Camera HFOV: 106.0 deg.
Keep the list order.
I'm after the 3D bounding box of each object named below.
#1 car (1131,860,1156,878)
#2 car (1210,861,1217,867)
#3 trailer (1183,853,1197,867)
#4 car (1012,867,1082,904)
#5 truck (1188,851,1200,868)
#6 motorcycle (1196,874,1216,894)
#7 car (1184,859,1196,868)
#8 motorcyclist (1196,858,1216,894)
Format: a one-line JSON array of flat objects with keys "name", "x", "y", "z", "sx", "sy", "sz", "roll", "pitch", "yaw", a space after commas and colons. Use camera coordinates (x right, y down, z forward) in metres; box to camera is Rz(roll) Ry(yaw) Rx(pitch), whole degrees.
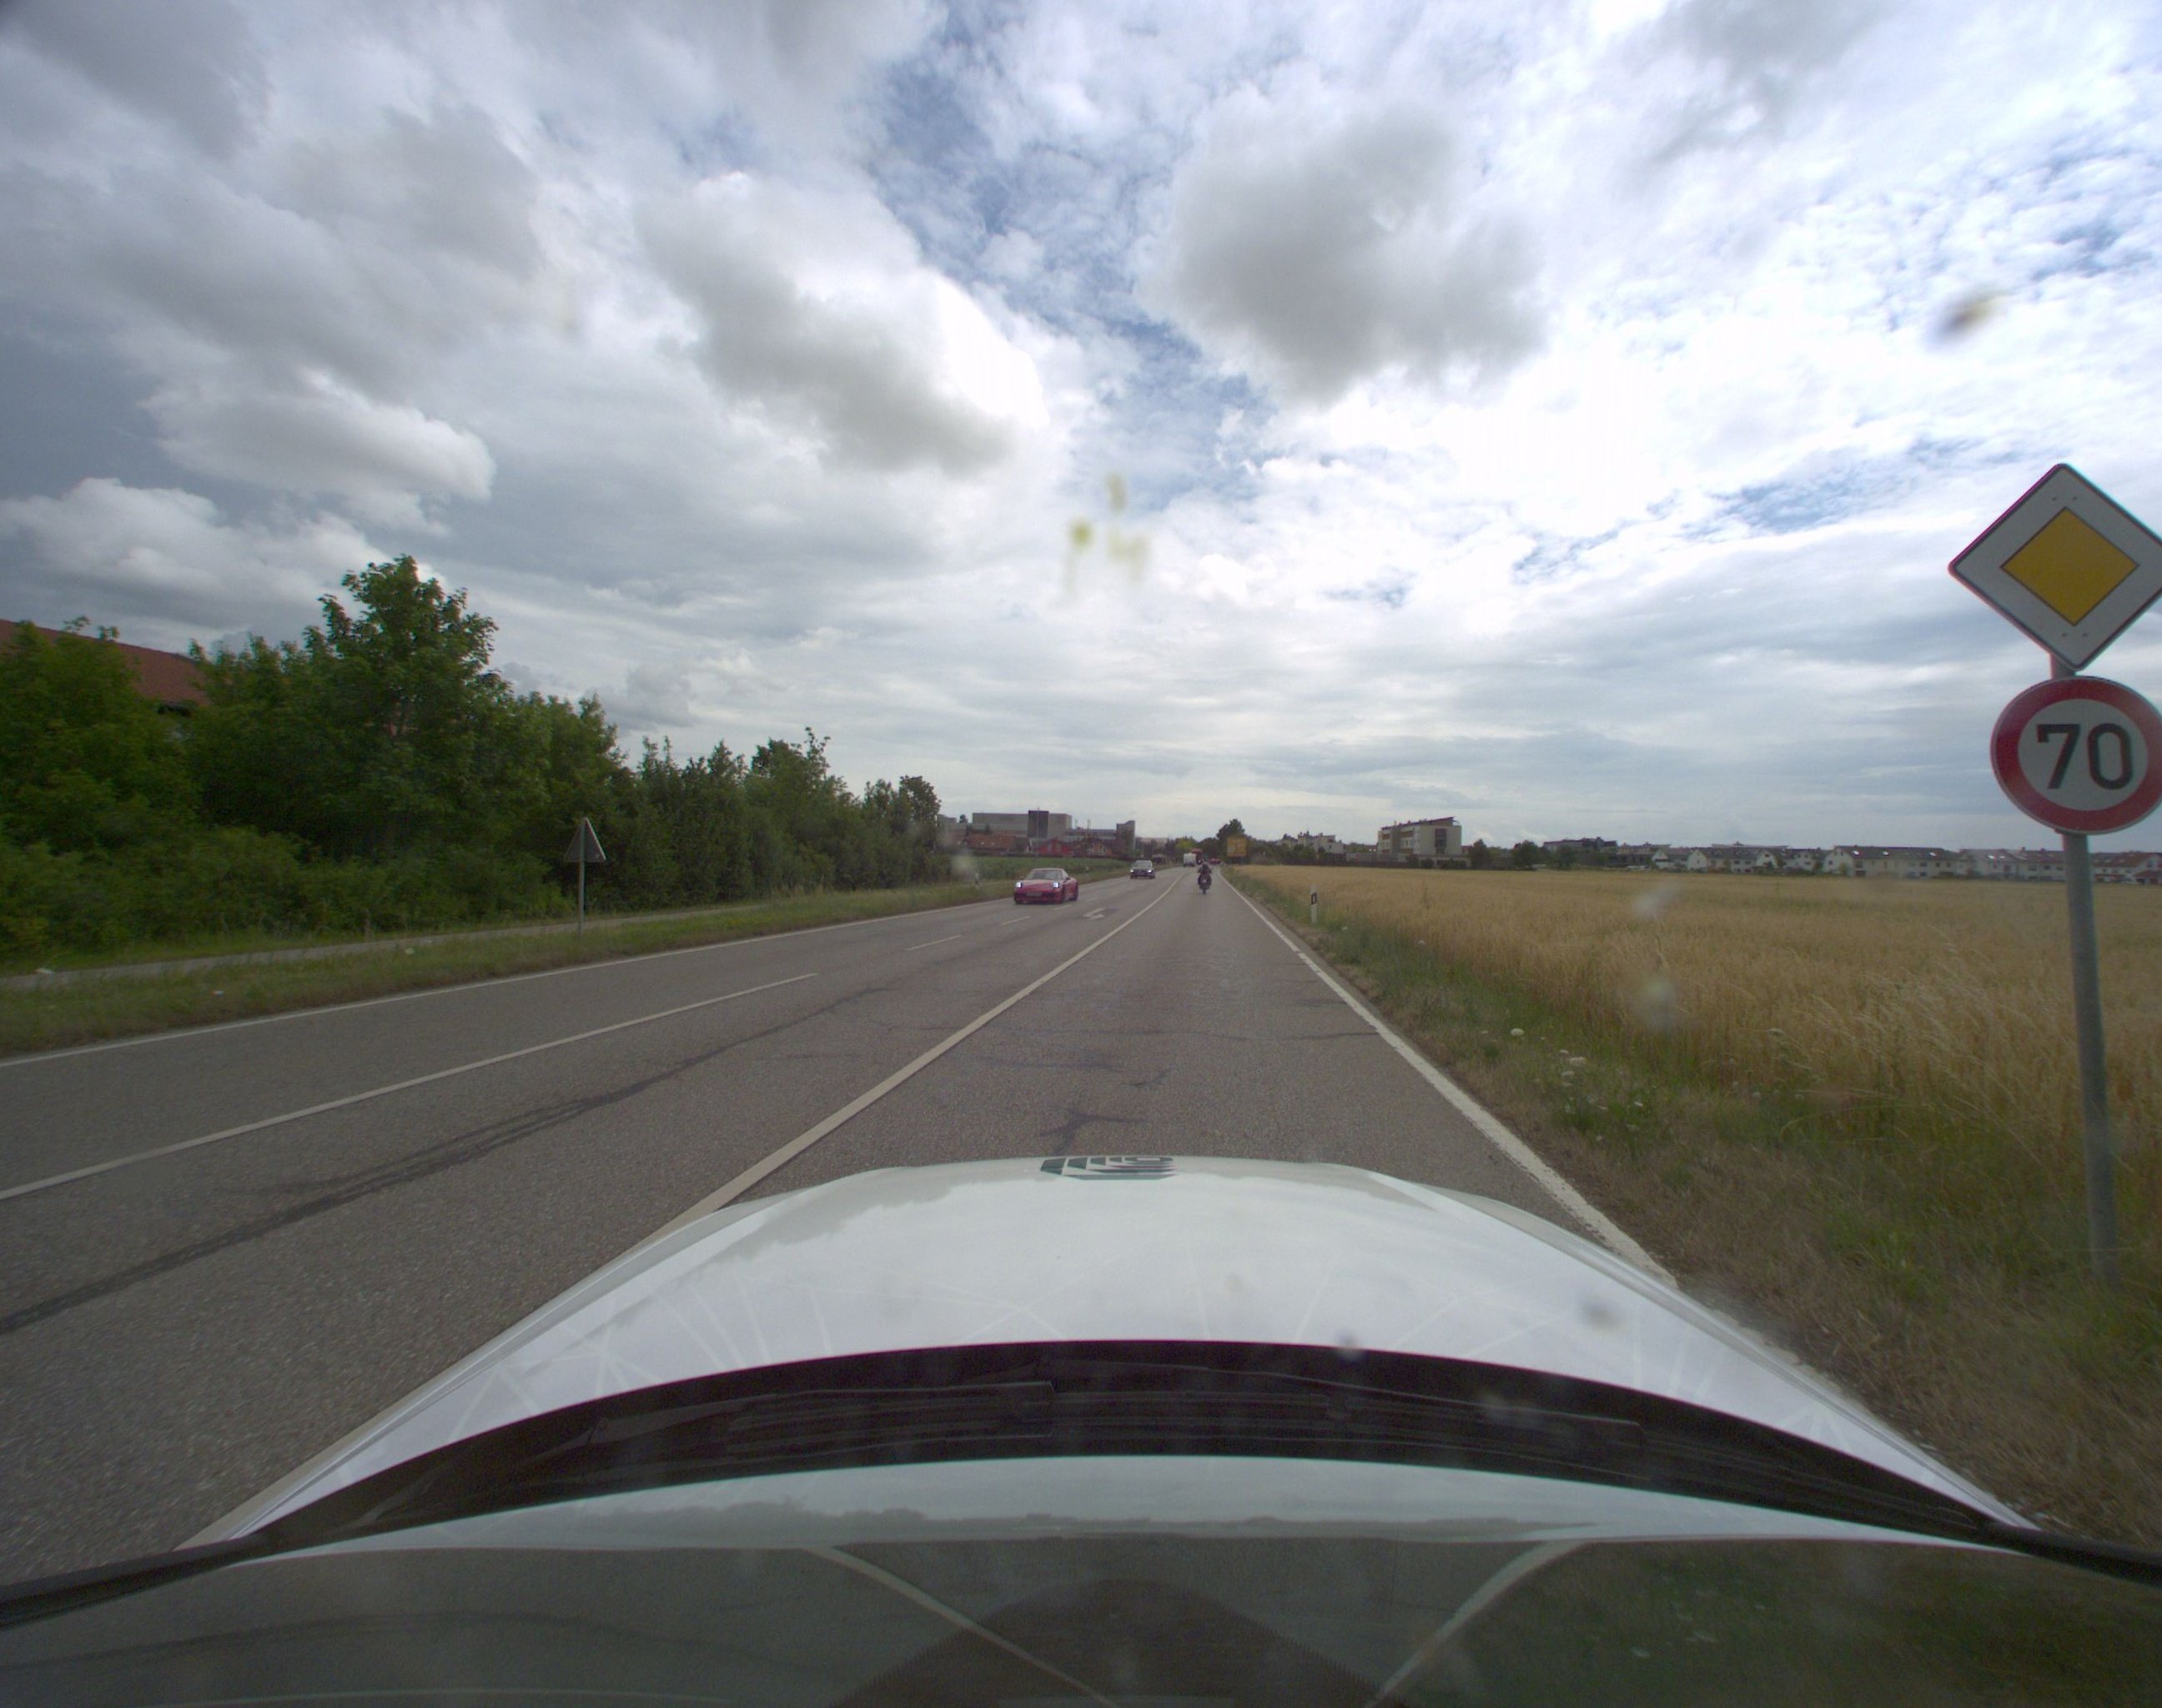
[{"name": "car", "x": 5.126, "y": 1.222, "z": 66.327, "sx": 1.659, "sy": 1.429, "sz": 4.314, "roll": -1, "pitch": -1, "yaw": 9}, {"name": "car", "x": 34.932, "y": 2.732, "z": 214.795, "sx": 1.844, "sy": 1.472, "sz": 4.011, "roll": 1, "pitch": -1, "yaw": 10}, {"name": "trailer", "x": 21.479, "y": 1.132, "z": 159.864, "sx": 2.310, "sy": 2.729, "sz": 7.864, "roll": 1, "pitch": 0, "yaw": 10}, {"name": "car", "x": -1.197, "y": 1.161, "z": 30.922, "sx": 1.760, "sy": 1.241, "sz": 4.223, "roll": 1, "pitch": 0, "yaw": 10}, {"name": "truck", "x": 28.041, "y": 1.411, "z": 201.429, "sx": 2.713, "sy": 3.987, "sz": 6.835, "roll": 1, "pitch": -1, "yaw": 10}, {"name": "motorcycle", "x": 6.134, "y": 1.459, "z": 39.958, "sx": 0.935, "sy": 0.890, "sz": 2.151, "roll": 1, "pitch": -1, "yaw": 10}, {"name": "car", "x": 20.646, "y": 1.752, "z": 154.074, "sx": 1.981, "sy": 1.699, "sz": 4.688, "roll": 1, "pitch": 0, "yaw": 9}, {"name": "motorcyclist", "x": 6.134, "y": 1.069, "z": 39.953, "sx": 0.935, "sy": 1.750, "sz": 1.203, "roll": 1, "pitch": -1, "yaw": 9}]
